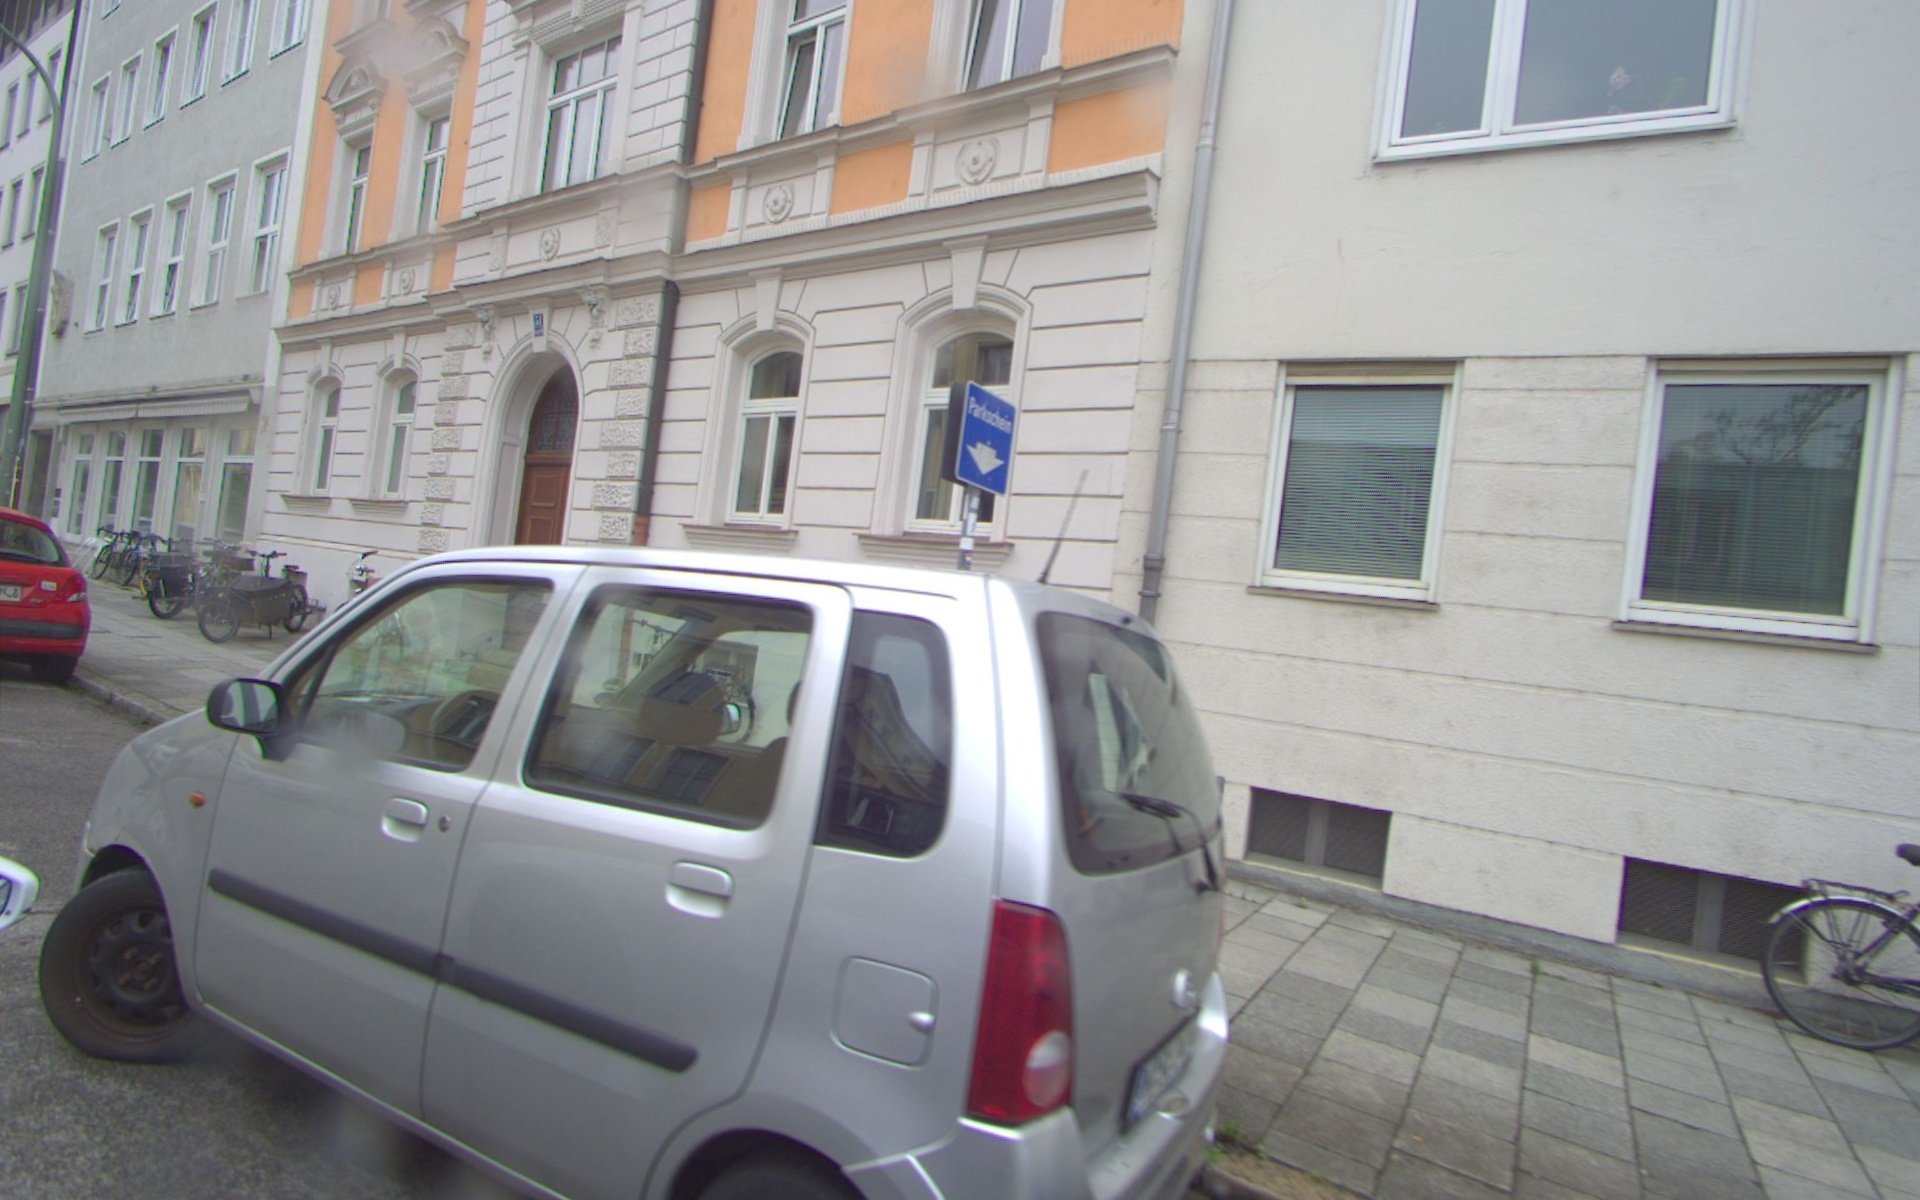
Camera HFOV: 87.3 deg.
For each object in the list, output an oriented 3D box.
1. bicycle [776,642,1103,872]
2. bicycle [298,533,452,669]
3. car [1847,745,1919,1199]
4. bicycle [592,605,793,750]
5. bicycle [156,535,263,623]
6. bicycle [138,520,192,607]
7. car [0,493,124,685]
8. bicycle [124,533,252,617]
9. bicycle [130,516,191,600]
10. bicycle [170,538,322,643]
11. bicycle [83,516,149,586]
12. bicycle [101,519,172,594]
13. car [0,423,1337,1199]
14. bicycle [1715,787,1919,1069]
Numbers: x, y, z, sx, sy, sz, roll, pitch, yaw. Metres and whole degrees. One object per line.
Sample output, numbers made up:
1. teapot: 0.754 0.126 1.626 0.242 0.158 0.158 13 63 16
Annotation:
1. bicycle: -0.154 0.980 6.726 1.960 1.125 0.725 7 -1 27
2. bicycle: -7.105 -0.003 12.176 2.057 1.402 0.596 7 0 32
3. car: 3.298 1.175 0.185 4.476 1.511 1.744 6 -2 35
4. bicycle: -2.452 0.678 9.136 1.787 1.036 0.596 7 0 32
5. bicycle: -10.598 -0.292 14.273 0.613 1.102 1.806 7 -1 -20
6. bicycle: -12.554 -0.581 15.886 0.901 1.271 0.248 7 0 30
7. car: -9.597 -0.320 9.185 4.079 1.516 1.692 7 -3 32
8. bicycle: -11.113 -0.335 14.558 0.507 1.080 1.846 7 -1 -7
9. bicycle: -13.168 -0.699 16.559 1.213 1.271 0.248 7 0 30
10. bicycle: -8.954 -0.104 12.728 0.574 1.153 2.089 7 -1 -9
11. bicycle: -16.287 -0.959 19.397 1.918 1.171 0.384 7 -1 35
12. bicycle: -14.815 -0.792 18.087 1.786 1.190 0.396 6 -1 35
13. car: -1.034 0.580 3.014 3.737 1.691 1.687 7 -3 27
14. bicycle: 4.714 1.582 4.503 1.964 1.084 0.530 7 -1 25
